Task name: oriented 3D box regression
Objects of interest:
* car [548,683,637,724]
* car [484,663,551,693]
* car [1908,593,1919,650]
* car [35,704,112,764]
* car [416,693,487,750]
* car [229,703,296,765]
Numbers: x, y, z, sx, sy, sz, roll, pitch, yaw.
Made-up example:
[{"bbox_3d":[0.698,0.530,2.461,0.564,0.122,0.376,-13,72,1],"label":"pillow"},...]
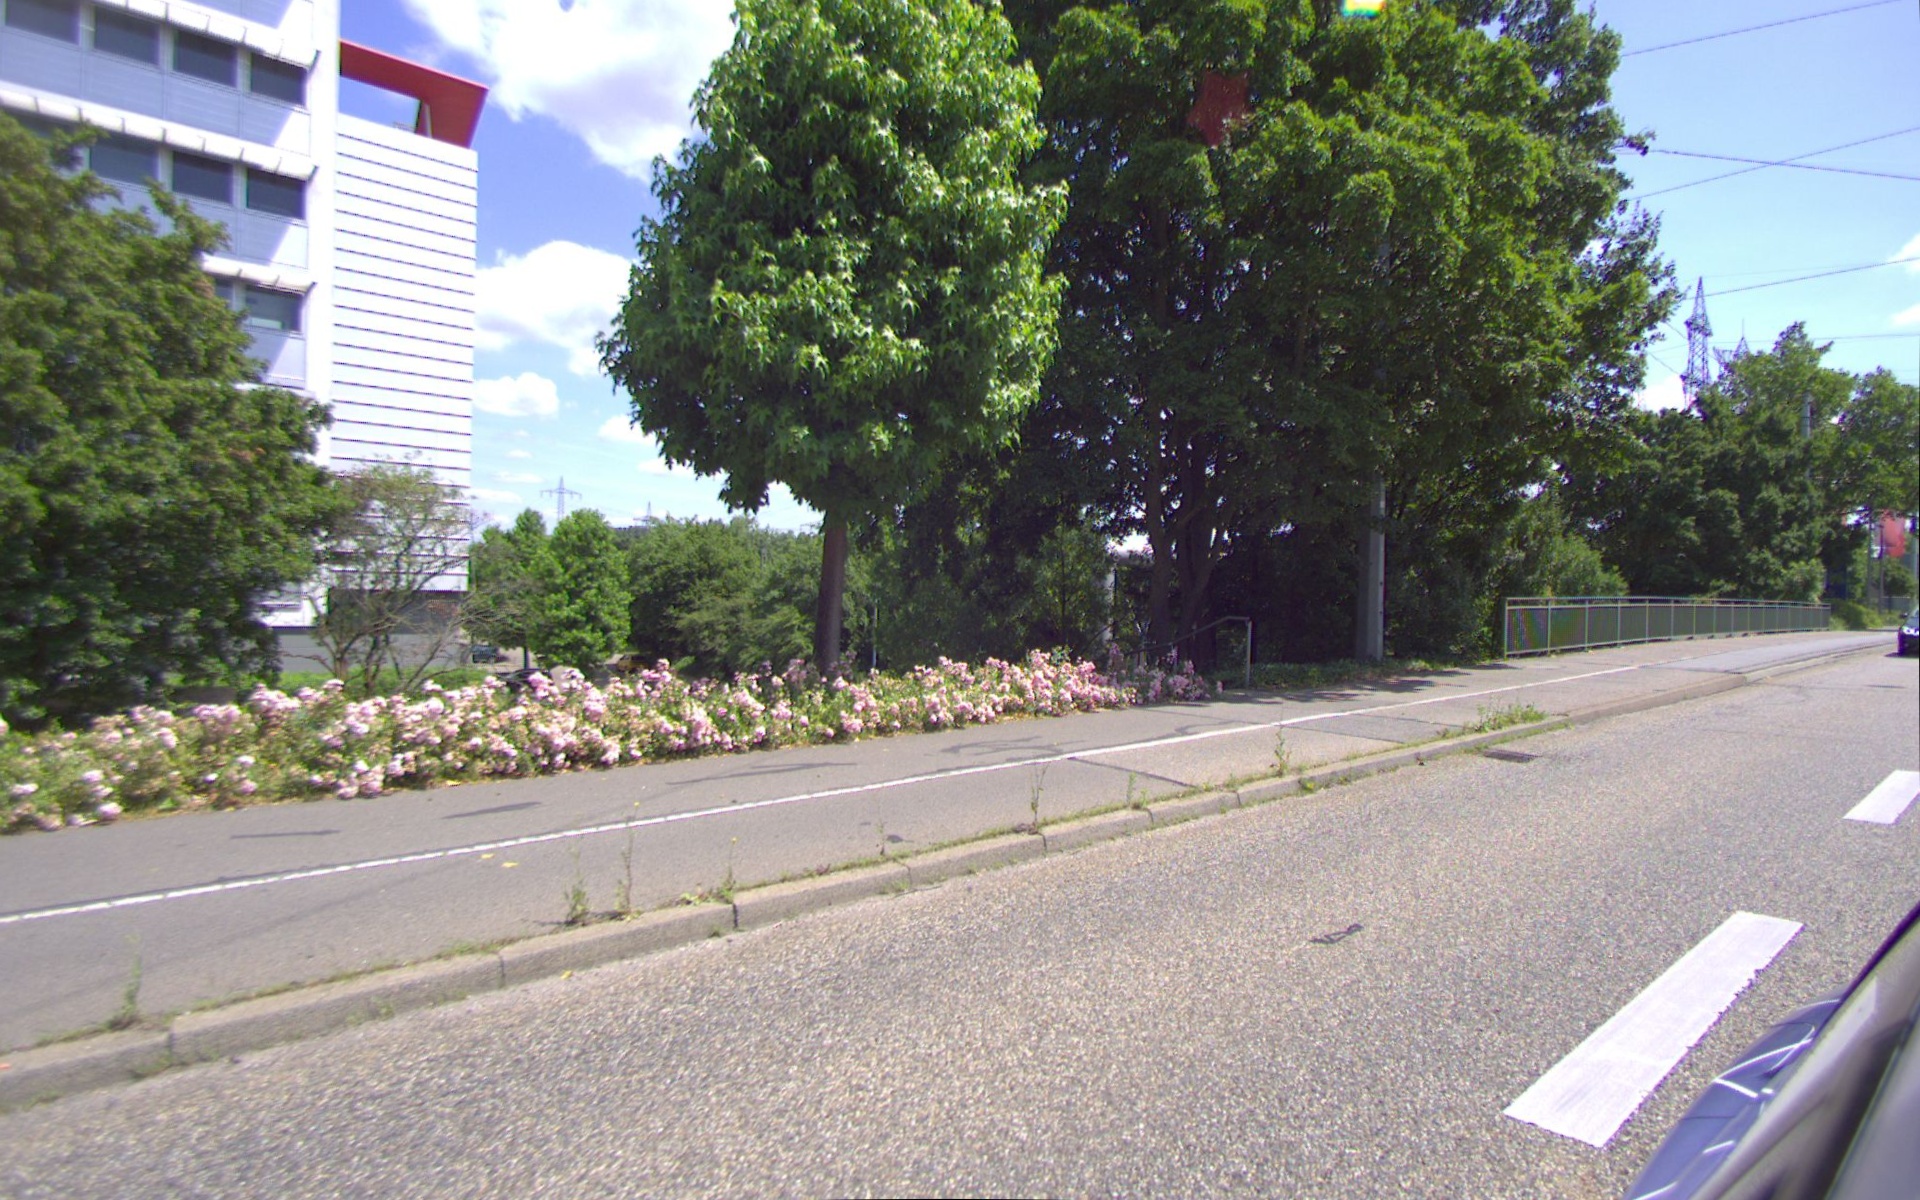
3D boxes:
[{"bbox_3d":[-17.155,4.801,47.319,3.554,1.622,1.704,0,-2,-38],"label":"car"},{"bbox_3d":[-27.116,4.748,62.047,3.551,1.622,1.706,0,-2,-34],"label":"car"},{"bbox_3d":[26.408,0.588,26.635,3.930,1.449,1.770,1,0,-41],"label":"car"},{"bbox_3d":[-26.340,3.931,30.148,1.431,1.302,3.374,0,0,-36],"label":"car"},{"bbox_3d":[-18.502,4.363,36.755,1.565,1.612,3.373,3,0,-39],"label":"car"},{"bbox_3d":[-22.511,4.264,32.625,1.517,1.536,3.372,0,0,-39],"label":"car"}]
